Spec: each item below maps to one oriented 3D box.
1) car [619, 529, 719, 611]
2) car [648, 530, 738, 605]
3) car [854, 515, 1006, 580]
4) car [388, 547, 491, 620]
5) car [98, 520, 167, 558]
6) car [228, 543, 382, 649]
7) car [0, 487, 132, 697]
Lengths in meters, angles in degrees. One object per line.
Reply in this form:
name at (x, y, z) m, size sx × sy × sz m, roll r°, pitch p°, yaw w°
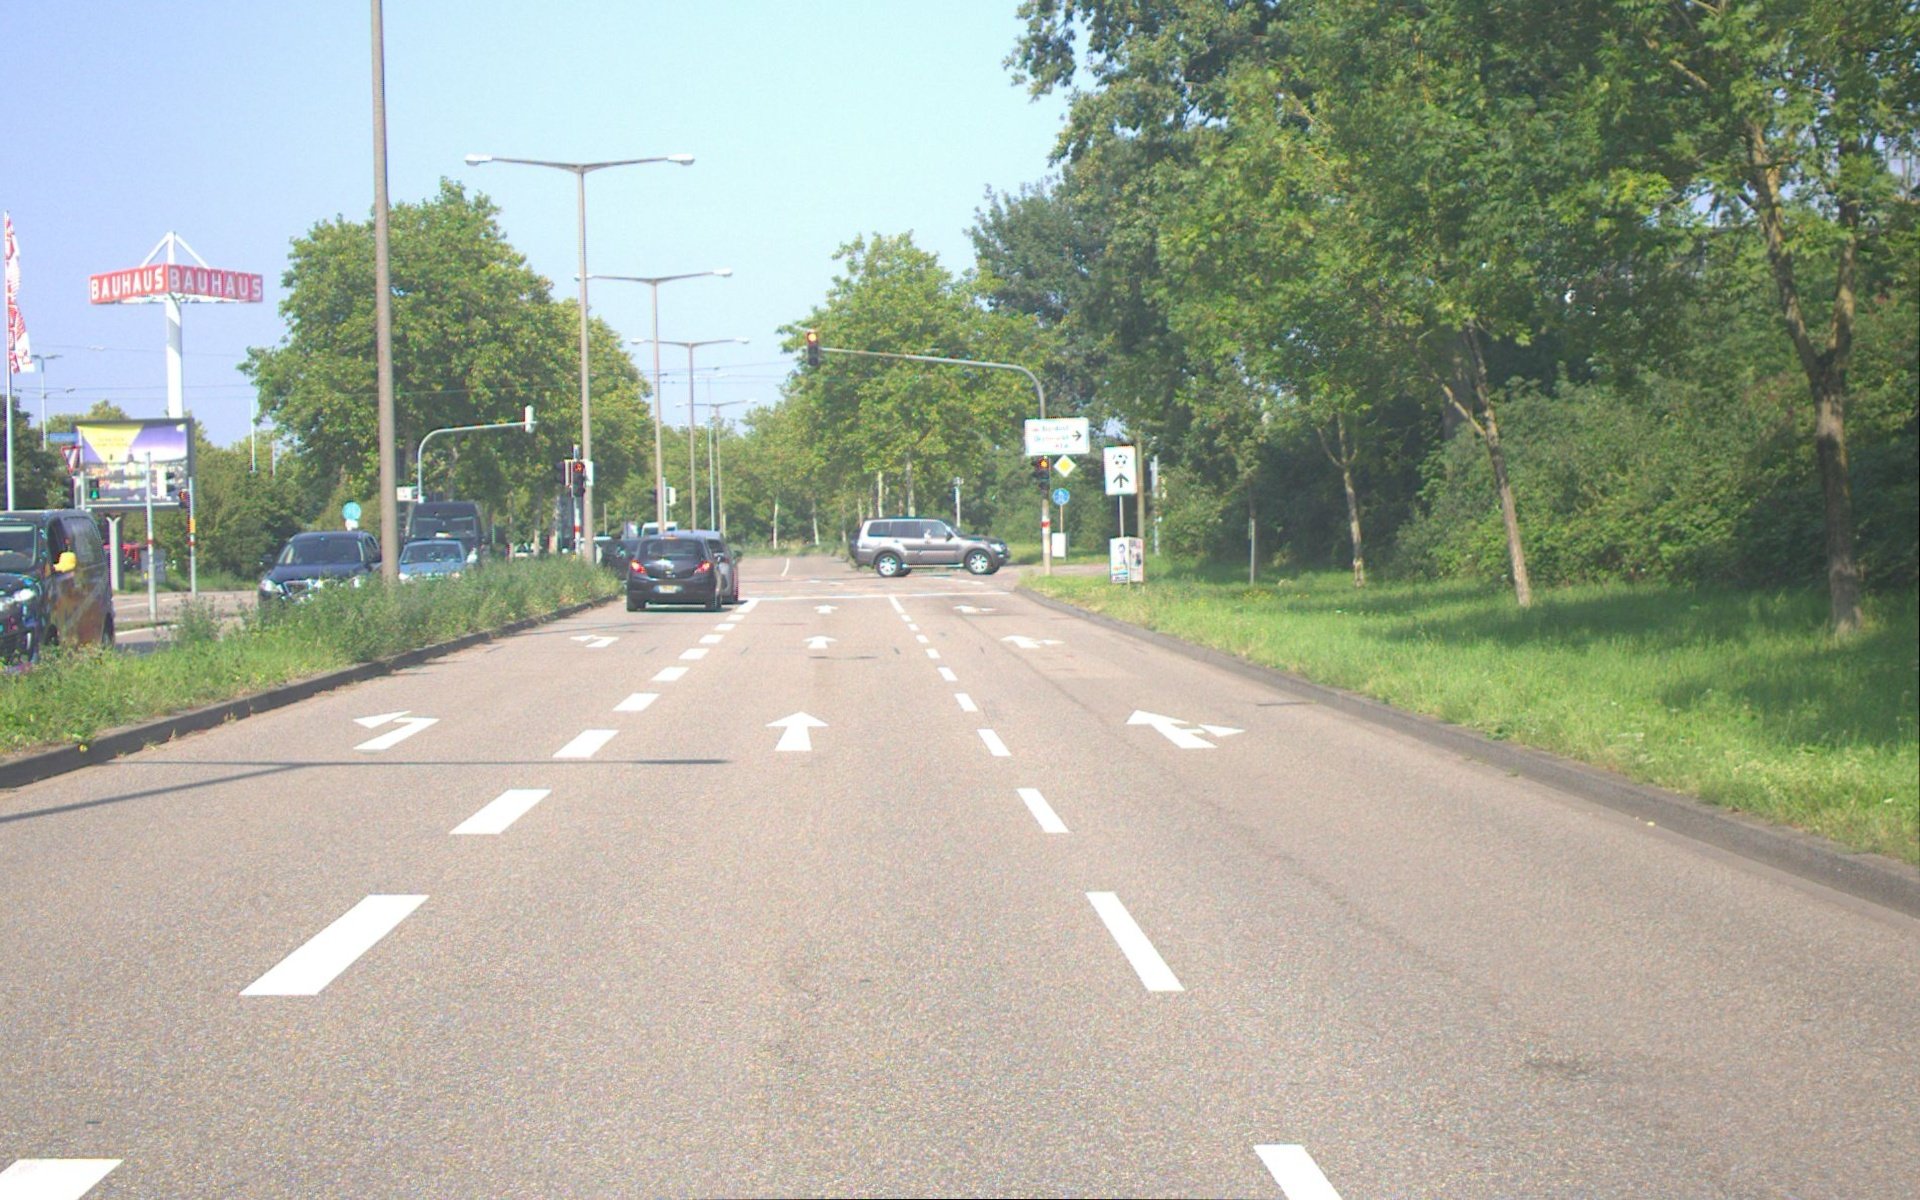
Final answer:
car at (-5.560, -0.598, 66.007) m, size 1.692 × 1.480 × 4.001 m, roll -2°, pitch 1°, yaw -2°
car at (-5.571, -0.708, 72.049) m, size 1.692 × 1.480 × 4.001 m, roll -2°, pitch 1°, yaw -2°
car at (-0.909, -1.601, 104.637) m, size 4.268 × 1.829 × 1.912 m, roll -1°, pitch 1°, yaw 12°
car at (-11.564, -0.392, 76.548) m, size 1.773 × 1.568 × 4.000 m, roll 0°, pitch 1°, yaw -2°
car at (-44.333, -3.251, 184.314) m, size 1.994 × 2.007 × 4.289 m, roll 0°, pitch 1°, yaw 11°
car at (-11.027, -0.099, 58.142) m, size 1.993 × 1.700 × 4.505 m, roll 0°, pitch 1°, yaw -3°
car at (-9.965, -0.096, 35.387) m, size 1.931 × 2.021 × 4.567 m, roll -2°, pitch 1°, yaw -3°
